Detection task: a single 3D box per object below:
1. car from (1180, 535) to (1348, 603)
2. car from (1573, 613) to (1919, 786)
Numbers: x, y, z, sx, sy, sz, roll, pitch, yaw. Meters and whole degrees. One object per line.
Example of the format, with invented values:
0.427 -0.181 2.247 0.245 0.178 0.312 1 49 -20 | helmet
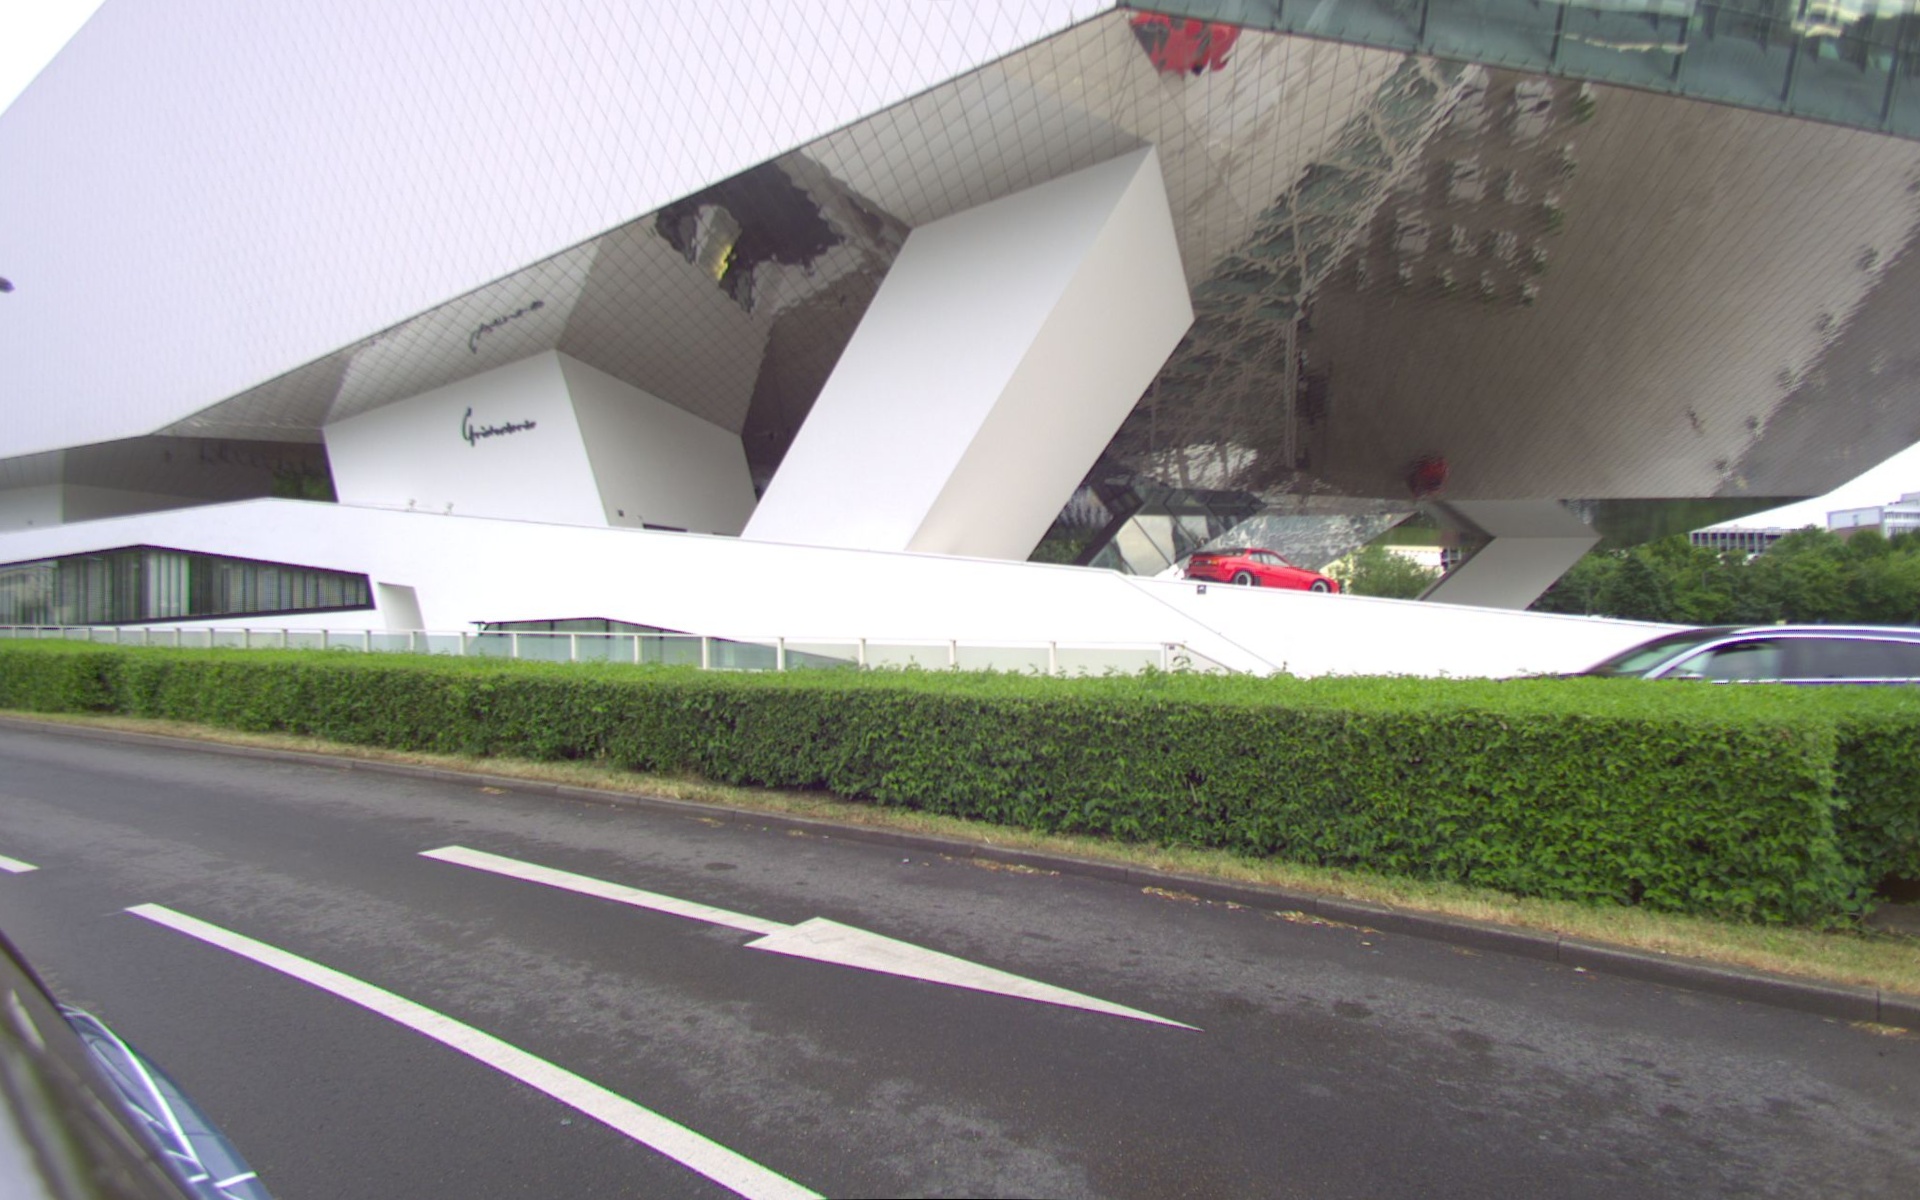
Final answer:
8.243 -0.793 27.515 4.032 1.252 1.643 7 -4 -15 | car
7.867 0.796 8.762 3.962 1.348 1.842 -1 -2 15 | car
